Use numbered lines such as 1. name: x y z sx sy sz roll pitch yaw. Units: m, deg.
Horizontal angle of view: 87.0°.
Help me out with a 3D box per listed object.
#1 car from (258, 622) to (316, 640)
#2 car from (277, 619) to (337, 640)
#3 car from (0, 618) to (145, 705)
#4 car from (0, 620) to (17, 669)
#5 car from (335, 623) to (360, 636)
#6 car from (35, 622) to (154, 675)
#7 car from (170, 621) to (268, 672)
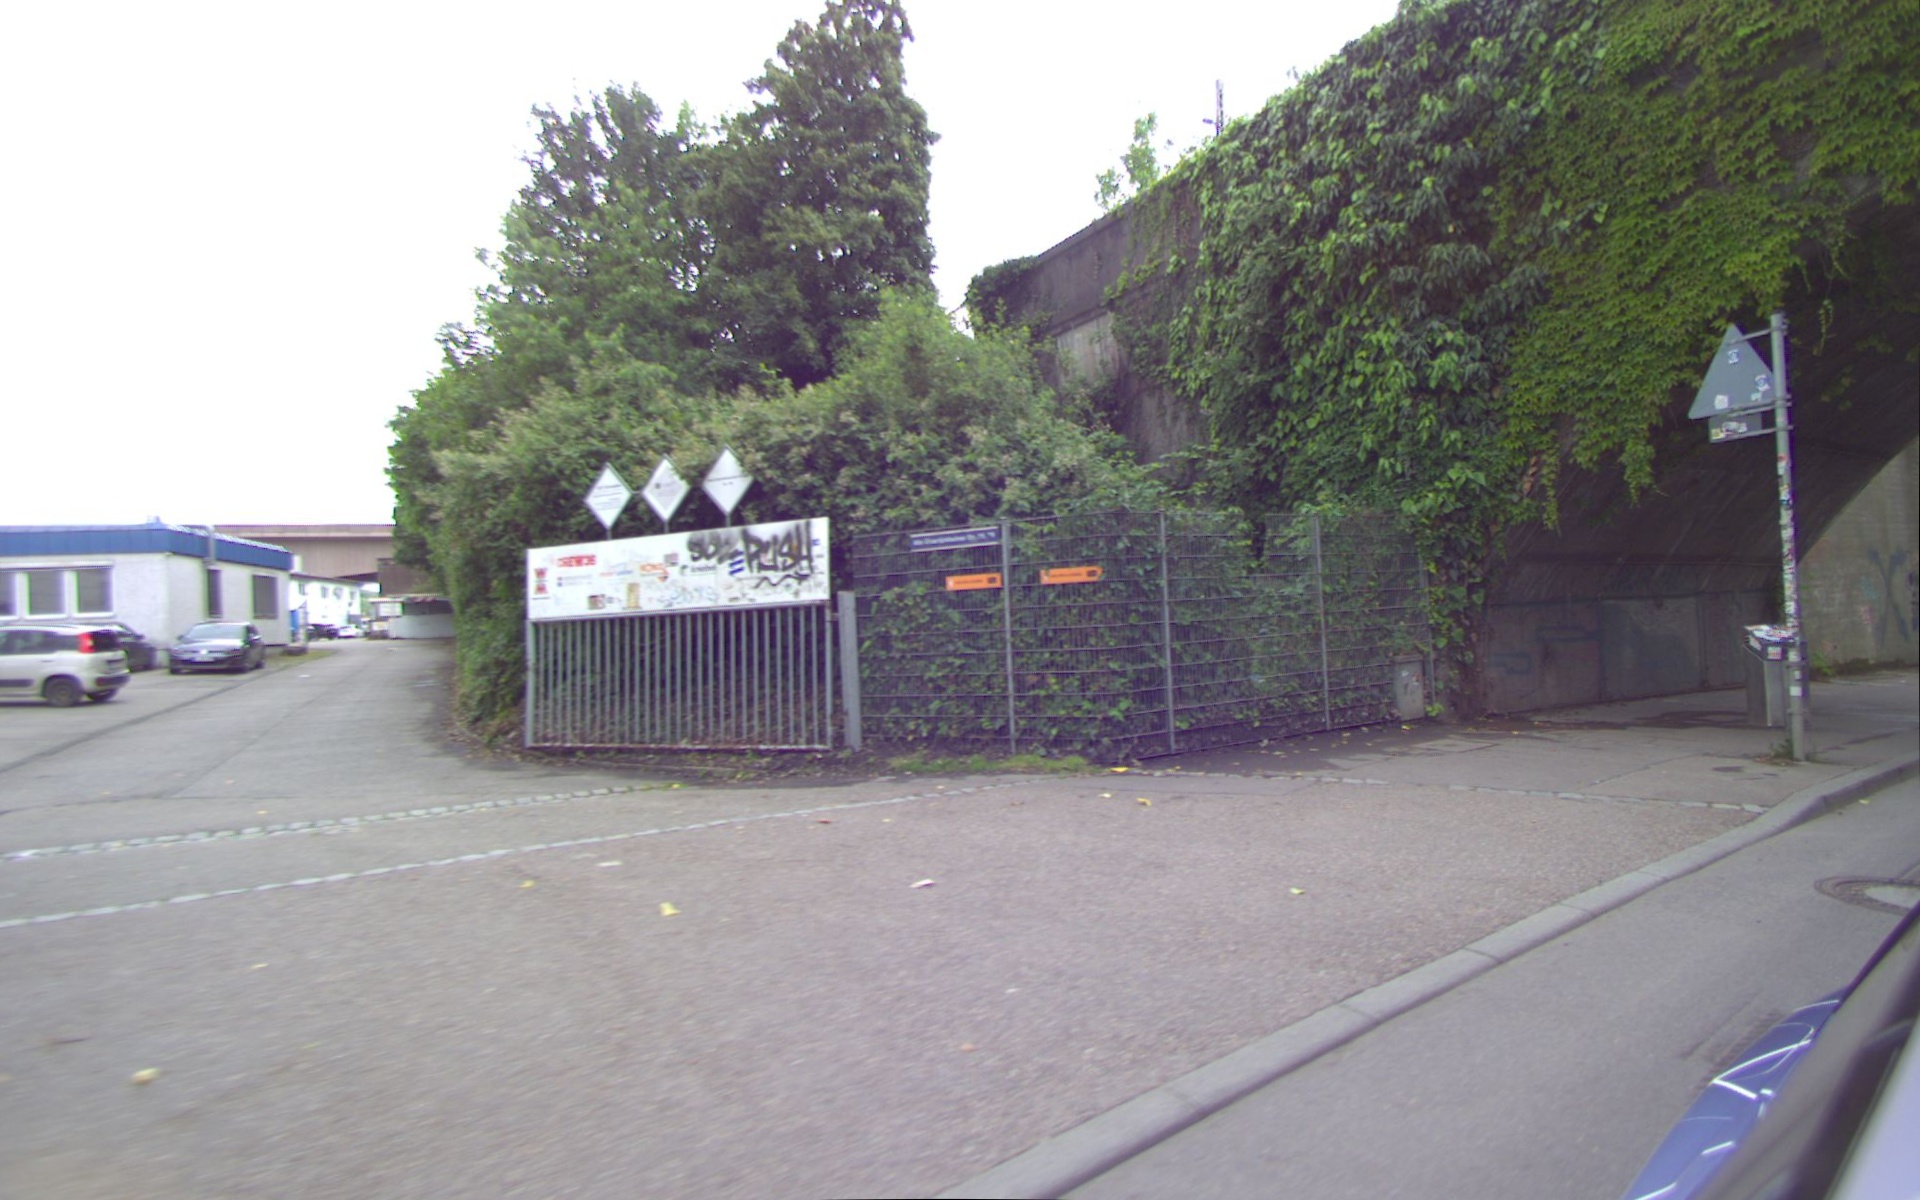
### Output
1. car: -53.399 2.444 80.378 3.647 1.349 1.532 1 -2 -27
2. car: -55.144 2.487 85.562 3.944 1.552 1.937 -3 1 -25
3. car: -18.113 1.148 19.254 3.731 1.551 1.568 1 0 -20
4. car: -26.492 1.200 26.626 1.309 1.349 3.317 0 -1 -21
5. car: -61.875 2.975 102.218 1.498 1.349 3.729 0 -1 -21
6. car: -23.745 1.278 27.916 1.498 1.349 3.689 1 -1 -24
7. car: -21.191 1.290 29.074 1.498 1.349 3.729 1 -1 -24
